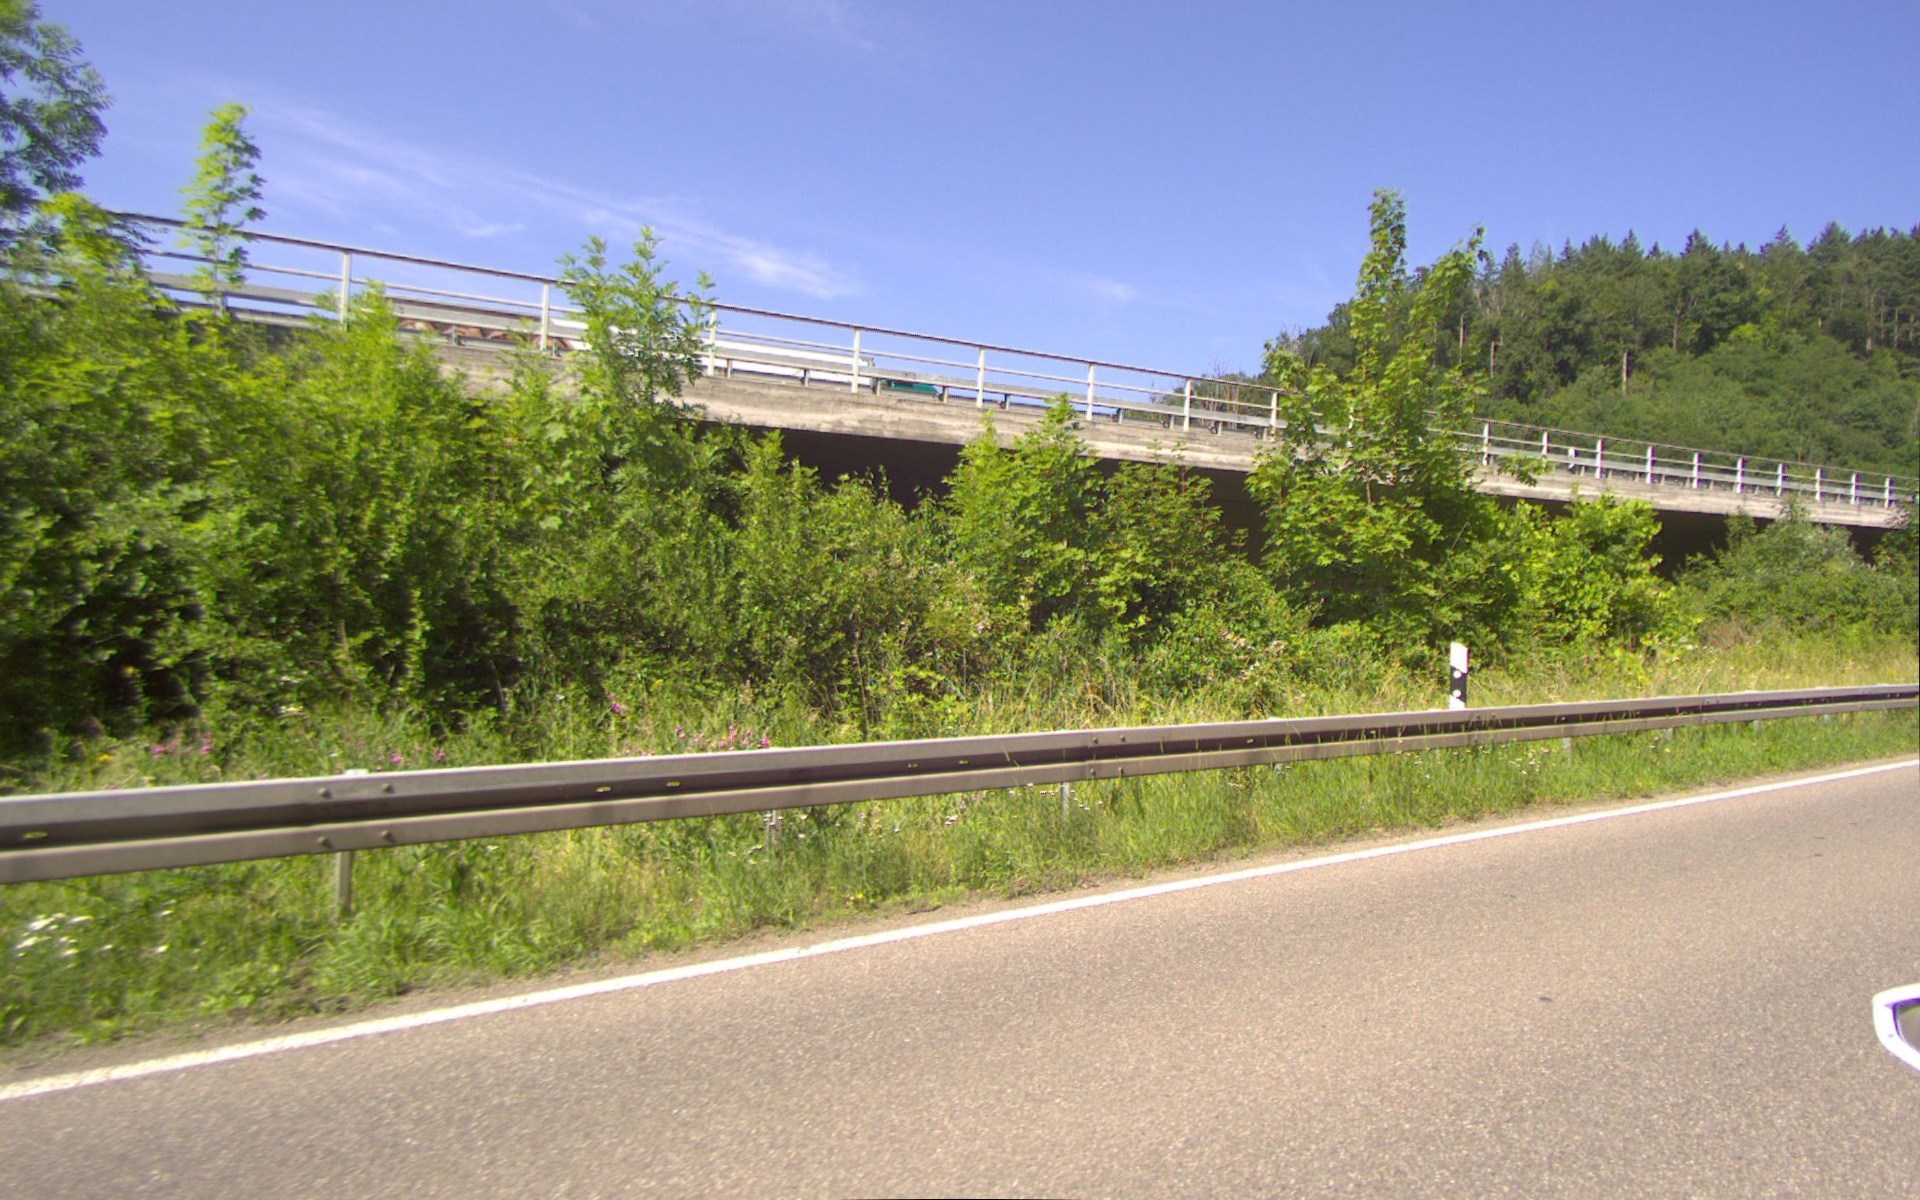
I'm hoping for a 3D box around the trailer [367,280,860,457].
[{"bbox_3d":[-9.163,-6.128,28.207,12.786,2.917,2.384,1,1,-30],"label":"trailer"}]

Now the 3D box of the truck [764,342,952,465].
[{"bbox_3d":[-3.180,-6.054,31.683,5.400,2.917,2.384,1,1,-30],"label":"truck"}]
